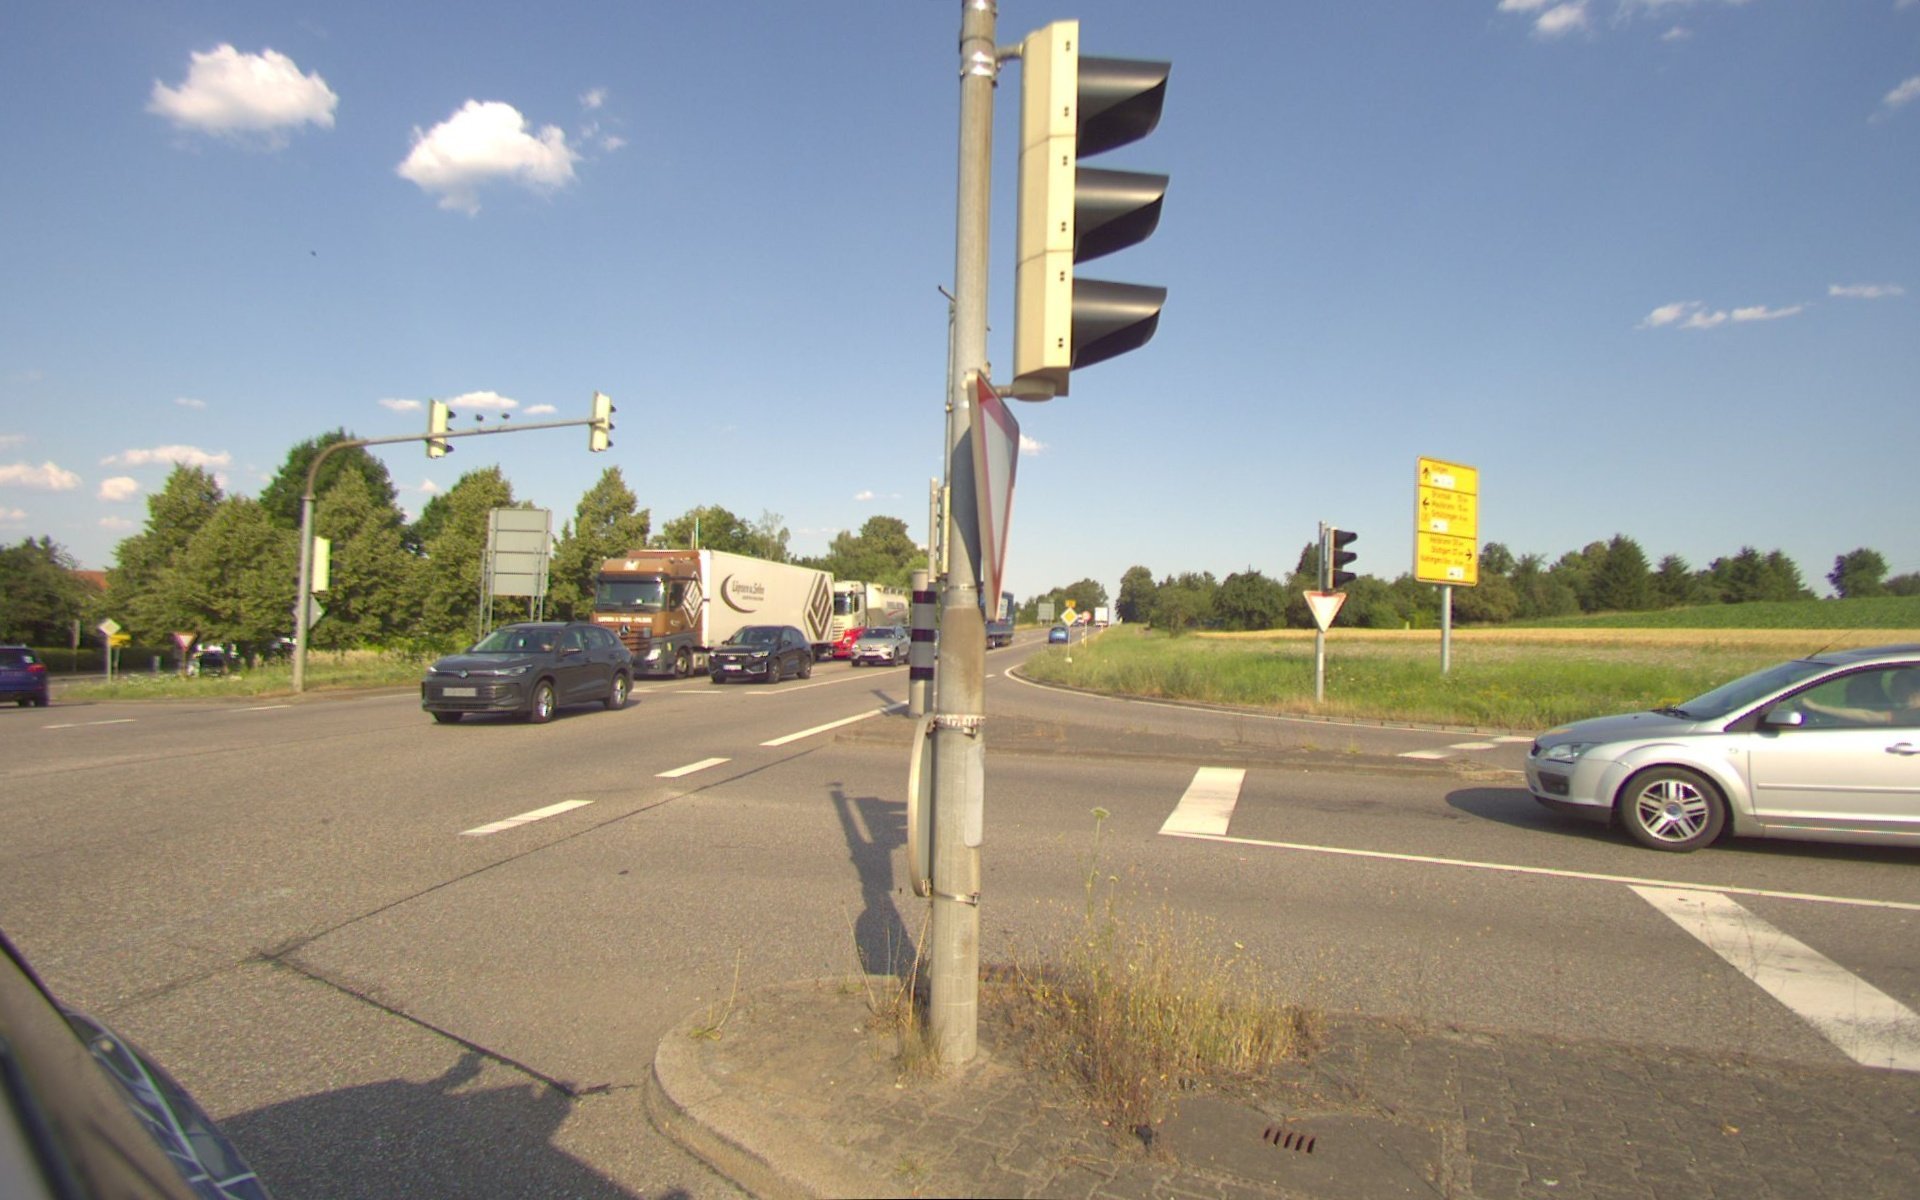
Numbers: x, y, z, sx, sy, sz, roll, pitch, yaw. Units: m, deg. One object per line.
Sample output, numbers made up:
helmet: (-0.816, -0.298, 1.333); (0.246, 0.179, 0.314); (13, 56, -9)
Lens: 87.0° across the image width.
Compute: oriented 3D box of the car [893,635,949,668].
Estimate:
car: (-1.876, 2.498, 49.507); (1.978, 1.497, 3.988); (-1, -2, 9)

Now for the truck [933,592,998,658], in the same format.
truck: (0.430, 1.633, 64.831); (3.339, 4.035, 5.584); (-1, -2, 10)

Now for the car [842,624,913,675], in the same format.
car: (-3.319, 1.978, 41.416); (1.887, 1.962, 4.359); (-1, -1, 9)

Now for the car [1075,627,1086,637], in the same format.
car: (26.365, 6.946, 220.782); (1.980, 2.029, 3.982); (-1, -2, 14)

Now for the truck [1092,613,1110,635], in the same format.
truck: (29.413, 5.071, 211.457); (3.413, 4.531, 9.458); (-1, -2, 9)

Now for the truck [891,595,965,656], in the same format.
truck: (-1.995, 1.805, 69.839); (2.503, 3.803, 12.856); (-1, -2, 10)

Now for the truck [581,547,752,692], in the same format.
truck: (-8.998, 0.674, 31.917); (2.513, 4.074, 6.639); (-1, -2, 10)

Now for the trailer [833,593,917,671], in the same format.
trailer: (-4.458, 1.772, 55.083); (2.240, 3.806, 9.495); (-2, -2, 9)

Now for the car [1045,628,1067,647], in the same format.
car: (7.914, 3.145, 83.817); (1.743, 1.512, 3.993); (0, -3, 5)

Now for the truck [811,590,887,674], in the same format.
truck: (-5.364, 1.575, 49.620); (2.238, 3.834, 5.668); (-1, -2, 9)

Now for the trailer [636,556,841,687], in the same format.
trailer: (-7.826, 0.983, 38.880); (2.512, 4.098, 14.289); (-1, -3, 10)

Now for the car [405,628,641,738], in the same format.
car: (-7.309, 1.328, 17.498); (1.767, 1.641, 4.459); (-1, -2, 7)

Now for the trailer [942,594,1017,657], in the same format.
trailer: (1.606, 1.864, 71.844); (3.381, 4.035, 13.707); (-1, -2, 9)

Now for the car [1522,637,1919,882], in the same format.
car: (6.639, 1.064, 7.308); (4.330, 1.540, 1.804); (-4, -3, 27)

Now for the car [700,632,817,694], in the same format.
car: (-5.710, 1.759, 29.232); (1.757, 1.625, 4.531); (-1, -2, 11)

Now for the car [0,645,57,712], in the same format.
car: (-23.476, 1.929, 24.369); (4.293, 1.509, 1.772); (-4, -3, 36)
